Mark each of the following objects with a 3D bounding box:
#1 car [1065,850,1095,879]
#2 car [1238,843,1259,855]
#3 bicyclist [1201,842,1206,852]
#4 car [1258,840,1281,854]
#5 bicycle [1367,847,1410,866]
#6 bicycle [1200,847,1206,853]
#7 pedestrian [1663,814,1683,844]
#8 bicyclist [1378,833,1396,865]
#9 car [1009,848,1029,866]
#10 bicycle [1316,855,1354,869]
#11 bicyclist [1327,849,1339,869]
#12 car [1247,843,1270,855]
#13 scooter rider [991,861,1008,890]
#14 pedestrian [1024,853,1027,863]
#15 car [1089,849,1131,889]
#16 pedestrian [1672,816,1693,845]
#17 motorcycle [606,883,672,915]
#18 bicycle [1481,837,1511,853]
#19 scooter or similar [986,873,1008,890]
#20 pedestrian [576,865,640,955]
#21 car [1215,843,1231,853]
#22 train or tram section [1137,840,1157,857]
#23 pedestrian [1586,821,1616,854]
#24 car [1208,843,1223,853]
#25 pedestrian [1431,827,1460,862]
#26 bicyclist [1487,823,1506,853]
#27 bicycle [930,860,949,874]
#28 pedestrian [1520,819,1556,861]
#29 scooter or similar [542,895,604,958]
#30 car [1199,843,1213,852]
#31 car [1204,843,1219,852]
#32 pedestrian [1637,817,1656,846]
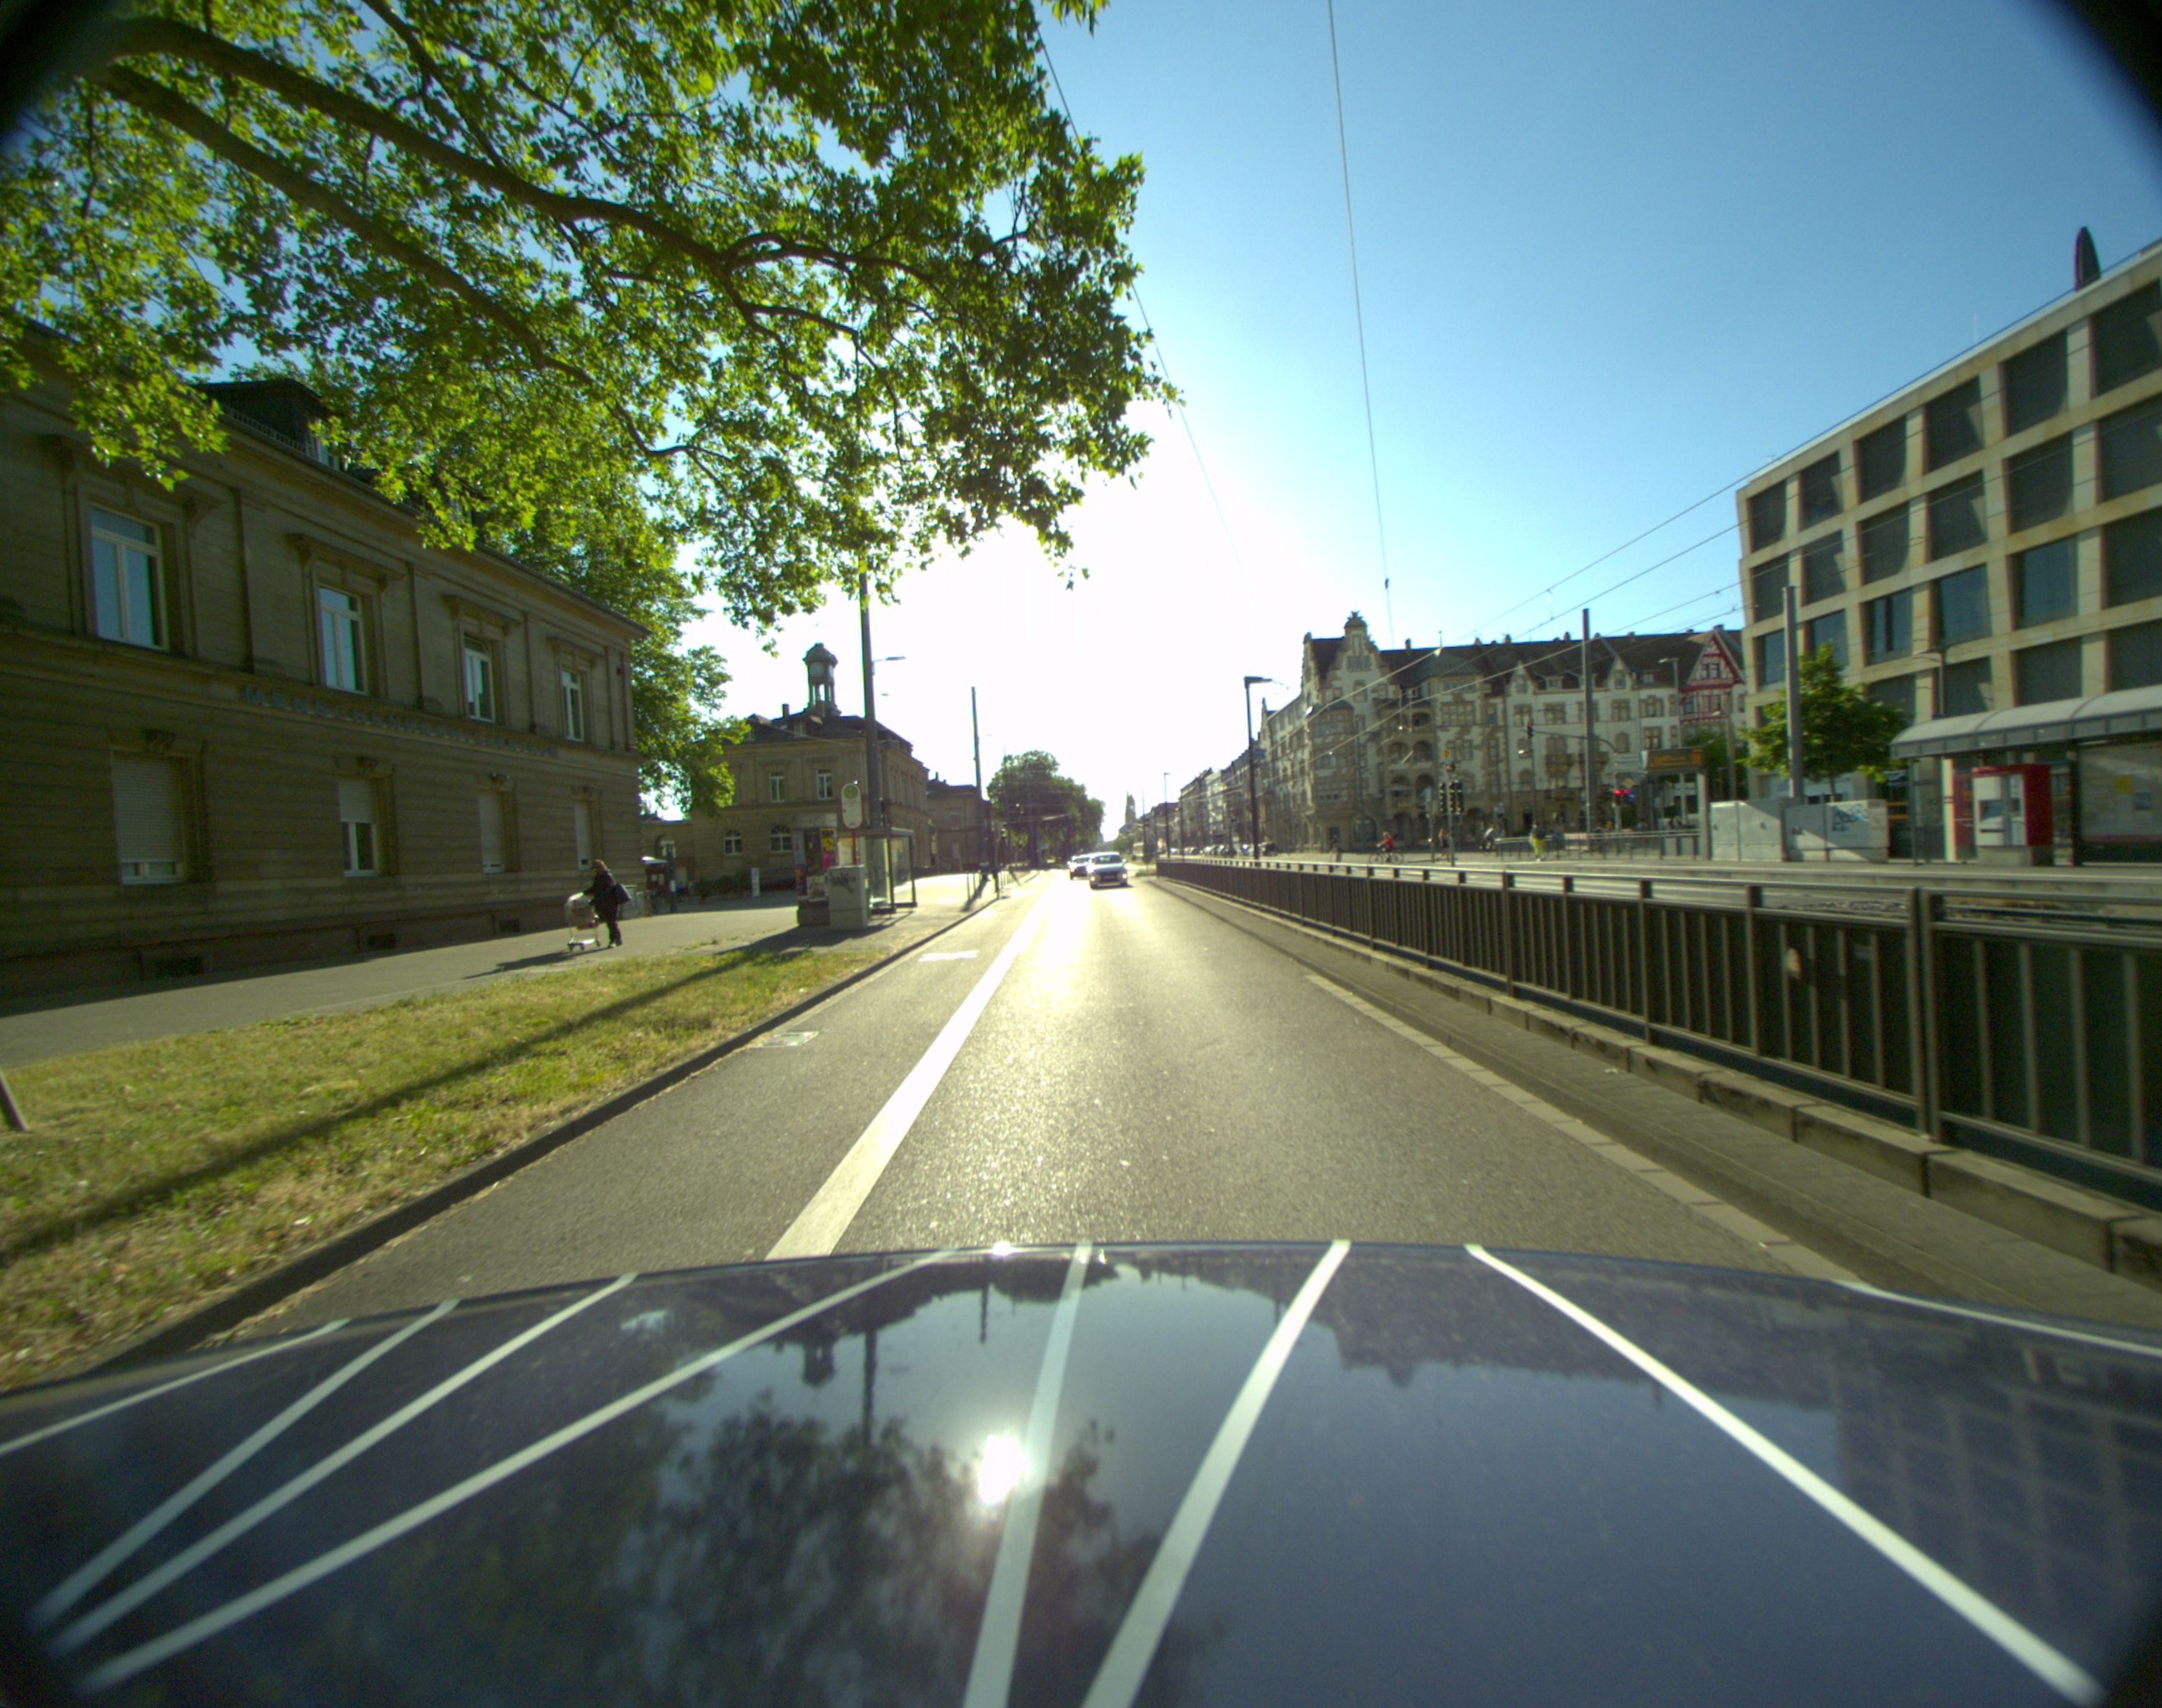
[{"bbox_3d":[-0.032,0.608,46.779,1.649,1.555,3.666,-4,1,0],"label":"car"},{"bbox_3d":[23.366,-0.722,106.022,1.741,1.516,3.998,-5,0,-4],"label":"car"},{"bbox_3d":[21.025,-1.166,130.606,0.683,1.609,0.630,-3,1,-2],"label":"bicyclist"},{"bbox_3d":[23.488,-0.877,94.925,1.780,1.660,3.999,-3,0,-1],"label":"car"},{"bbox_3d":[15.842,0.134,39.175,1.888,0.873,0.608,-3,1,9],"label":"bicycle"},{"bbox_3d":[21.023,-0.719,130.633,0.607,0.996,2.068,-3,0,-2],"label":"bicycle"},{"bbox_3d":[34.180,-1.423,43.885,0.616,1.672,0.582,-3,1,-2],"label":"pedestrian"},{"bbox_3d":[15.761,-0.247,39.127,0.629,1.609,0.684,-3,1,9],"label":"bicyclist"},{"bbox_3d":[-7.922,0.384,97.422,1.833,2.034,4.000,-4,1,4],"label":"car"},{"bbox_3d":[13.079,0.429,39.149,1.724,0.605,0.512,-4,1,10],"label":"bicycle"},{"bbox_3d":[12.961,0.252,39.128,0.462,0.987,0.511,-3,1,10],"label":"bicyclist"},{"bbox_3d":[23.472,-0.707,100.620,1.727,1.467,4.432,-3,0,-2],"label":"car"},{"bbox_3d":[-4.035,1.057,37.852,0.703,1.389,0.600,-3,1,1],"label":"scooter rider"},{"bbox_3d":[-9.366,0.690,128.117,0.364,1.635,0.390,-3,1,1],"label":"pedestrian"},{"bbox_3d":[1.254,0.612,33.670,1.649,1.555,3.666,-4,1,0],"label":"car"},{"bbox_3d":[34.846,-1.350,44.040,0.616,1.672,0.639,-3,1,-3],"label":"pedestrian"},{"bbox_3d":[-18.472,1.866,31.790,2.224,1.153,0.887,-4,1,8],"label":"motorcycle"},{"bbox_3d":[25.366,-0.552,46.457,1.891,0.906,0.513,-3,1,-23],"label":"bicycle"},{"bbox_3d":[-4.188,1.355,37.771,1.023,0.807,0.265,-3,1,1],"label":"scooter or similar"},{"bbox_3d":[-9.541,1.111,15.345,0.771,1.734,0.796,-1,1,-5],"label":"pedestrian"},{"bbox_3d":[23.015,-0.938,123.122,1.741,1.516,4.000,-5,0,1],"label":"car"},{"bbox_3d":[14.611,-1.164,169.314,2.781,3.378,19.474,-4,0,1],"label":"train or tram section"},{"bbox_3d":[26.792,-0.855,39.131,0.933,1.635,0.795,-3,1,-12],"label":"pedestrian"},{"bbox_3d":[22.910,-1.017,129.279,1.741,1.516,4.000,-5,0,1],"label":"car"},{"bbox_3d":[17.874,-0.450,37.271,0.933,1.635,0.795,-3,1,-12],"label":"pedestrian"},{"bbox_3d":[25.416,-0.959,46.459,0.669,1.797,0.646,-3,1,-22],"label":"bicyclist"},{"bbox_3d":[-13.048,1.187,70.150,1.650,1.174,0.690,-2,1,-1],"label":"bicycle"},{"bbox_3d":[18.358,-0.560,30.537,0.795,1.635,0.933,-3,1,2],"label":"pedestrian"},{"bbox_3d":[-10.062,1.420,15.076,0.720,1.149,0.759,-1,1,-5],"label":"scooter or similar"},{"bbox_3d":[22.915,-1.157,139.256,1.741,1.516,4.000,-5,0,1],"label":"car"},{"bbox_3d":[23.092,-1.103,134.573,1.741,1.516,4.000,-5,0,1],"label":"car"},{"bbox_3d":[33.703,-1.319,45.267,0.616,1.672,0.582,-3,1,-2],"label":"pedestrian"}]
